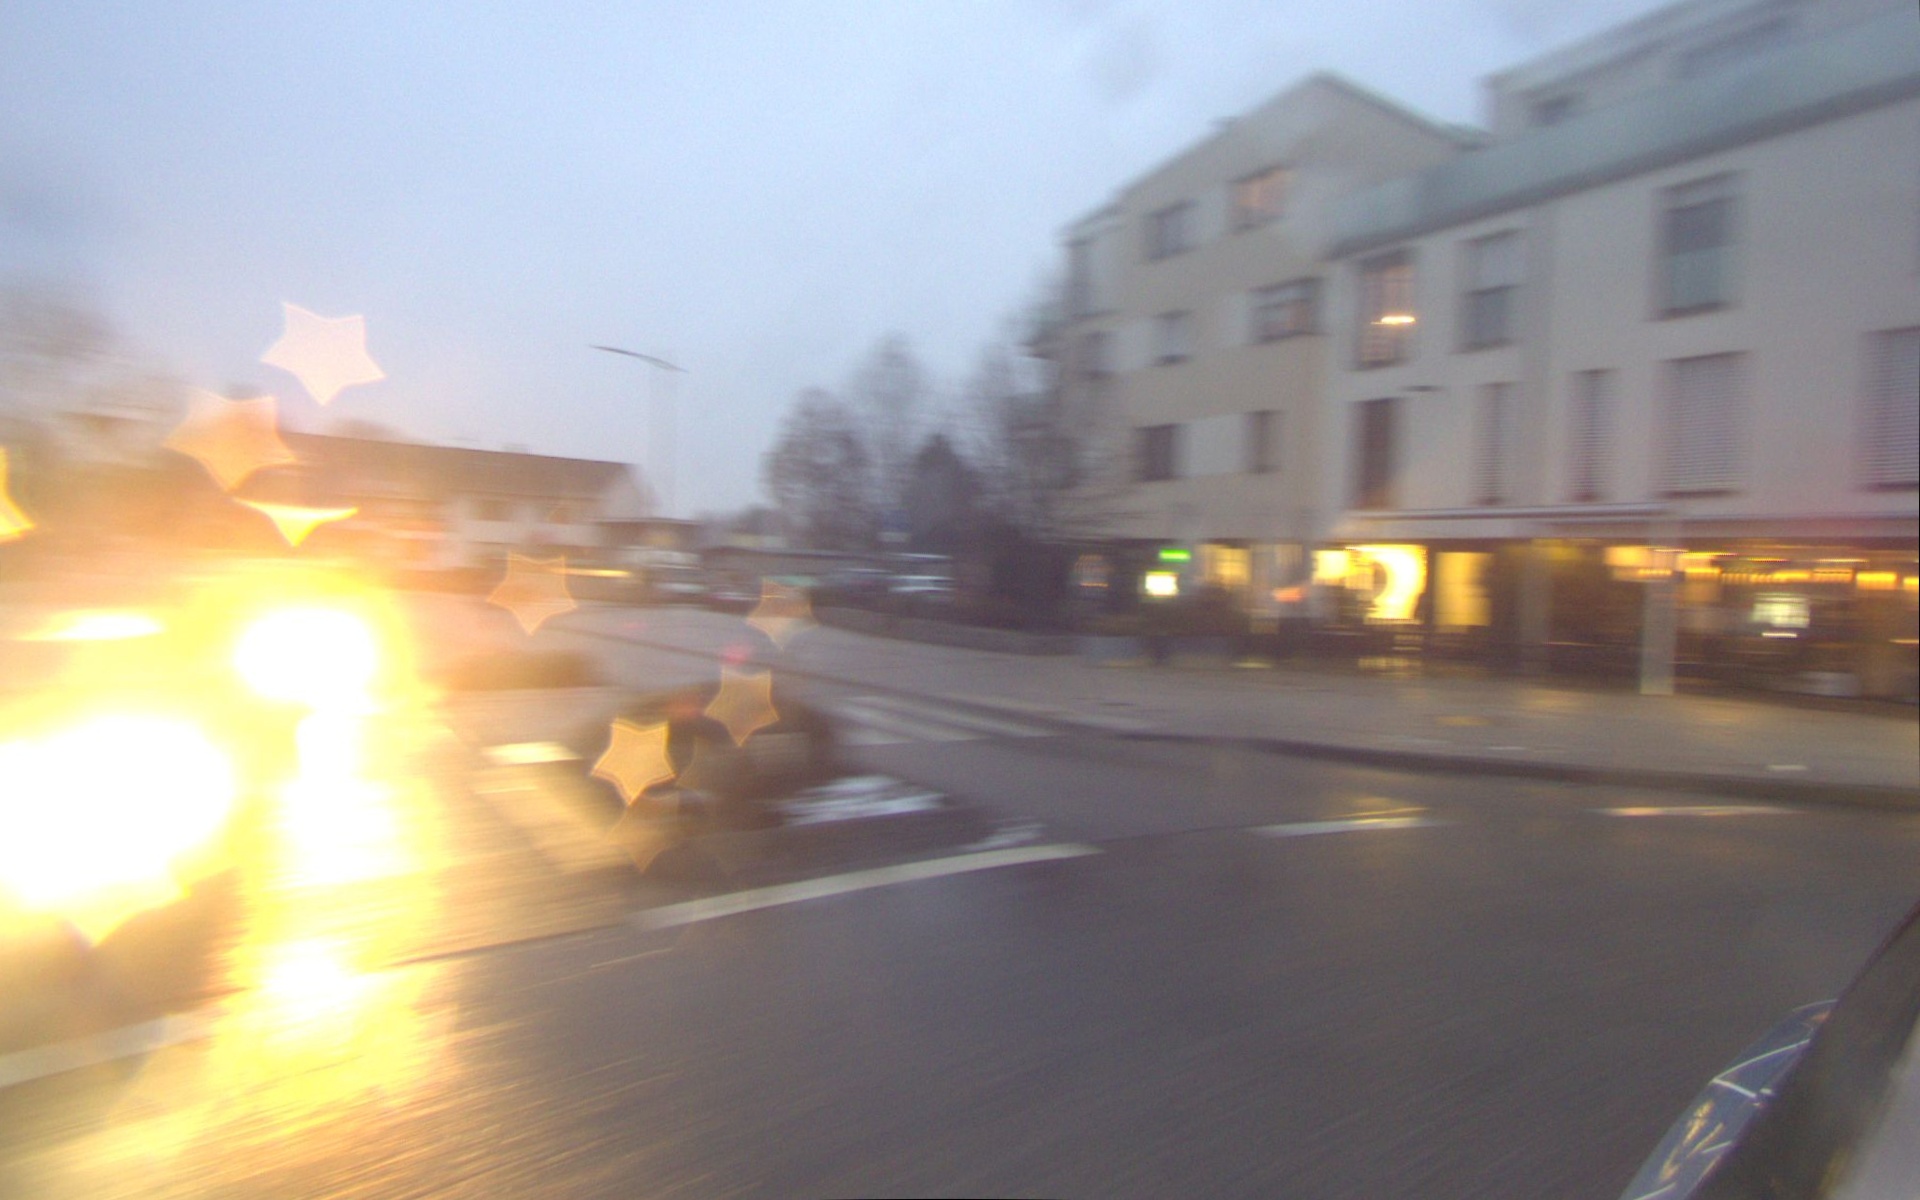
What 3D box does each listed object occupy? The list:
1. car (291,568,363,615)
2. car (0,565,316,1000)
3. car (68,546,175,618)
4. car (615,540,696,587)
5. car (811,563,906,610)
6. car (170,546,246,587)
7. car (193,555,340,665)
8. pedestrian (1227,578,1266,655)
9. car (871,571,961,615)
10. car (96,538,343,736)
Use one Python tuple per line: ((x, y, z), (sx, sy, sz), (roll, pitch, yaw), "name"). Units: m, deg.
((-22.195, -0.332, 35.430), (1.846, 1.471, 4.000), (2, 1, -36), "car")
((-4.435, 0.537, 4.966), (1.813, 1.401, 4.241), (-1, 2, -28), "car")
((-19.666, -0.477, 23.881), (1.633, 1.547, 4.001), (0, 2, -35), "car")
((-14.270, -1.688, 47.189), (2.172, 2.039, 4.860), (1, 1, -35), "car")
((-3.639, -0.508, 35.814), (1.683, 1.535, 3.768), (1, 1, -35), "car")
((-40.931, -1.826, 55.046), (4.873, 2.037, 1.975), (1, 5, 38), "car")
((-10.933, 0.063, 16.185), (1.663, 1.526, 4.262), (0, 2, -31), "car")
((5.628, 0.317, 19.869), (0.543, 1.472, 0.451), (2, 1, -42), "pedestrian")
((-1.673, -0.279, 37.688), (1.492, 1.492, 3.441), (2, 1, -40), "car")
((-7.245, 0.242, 10.181), (1.664, 1.571, 4.003), (0, 1, -33), "car")
